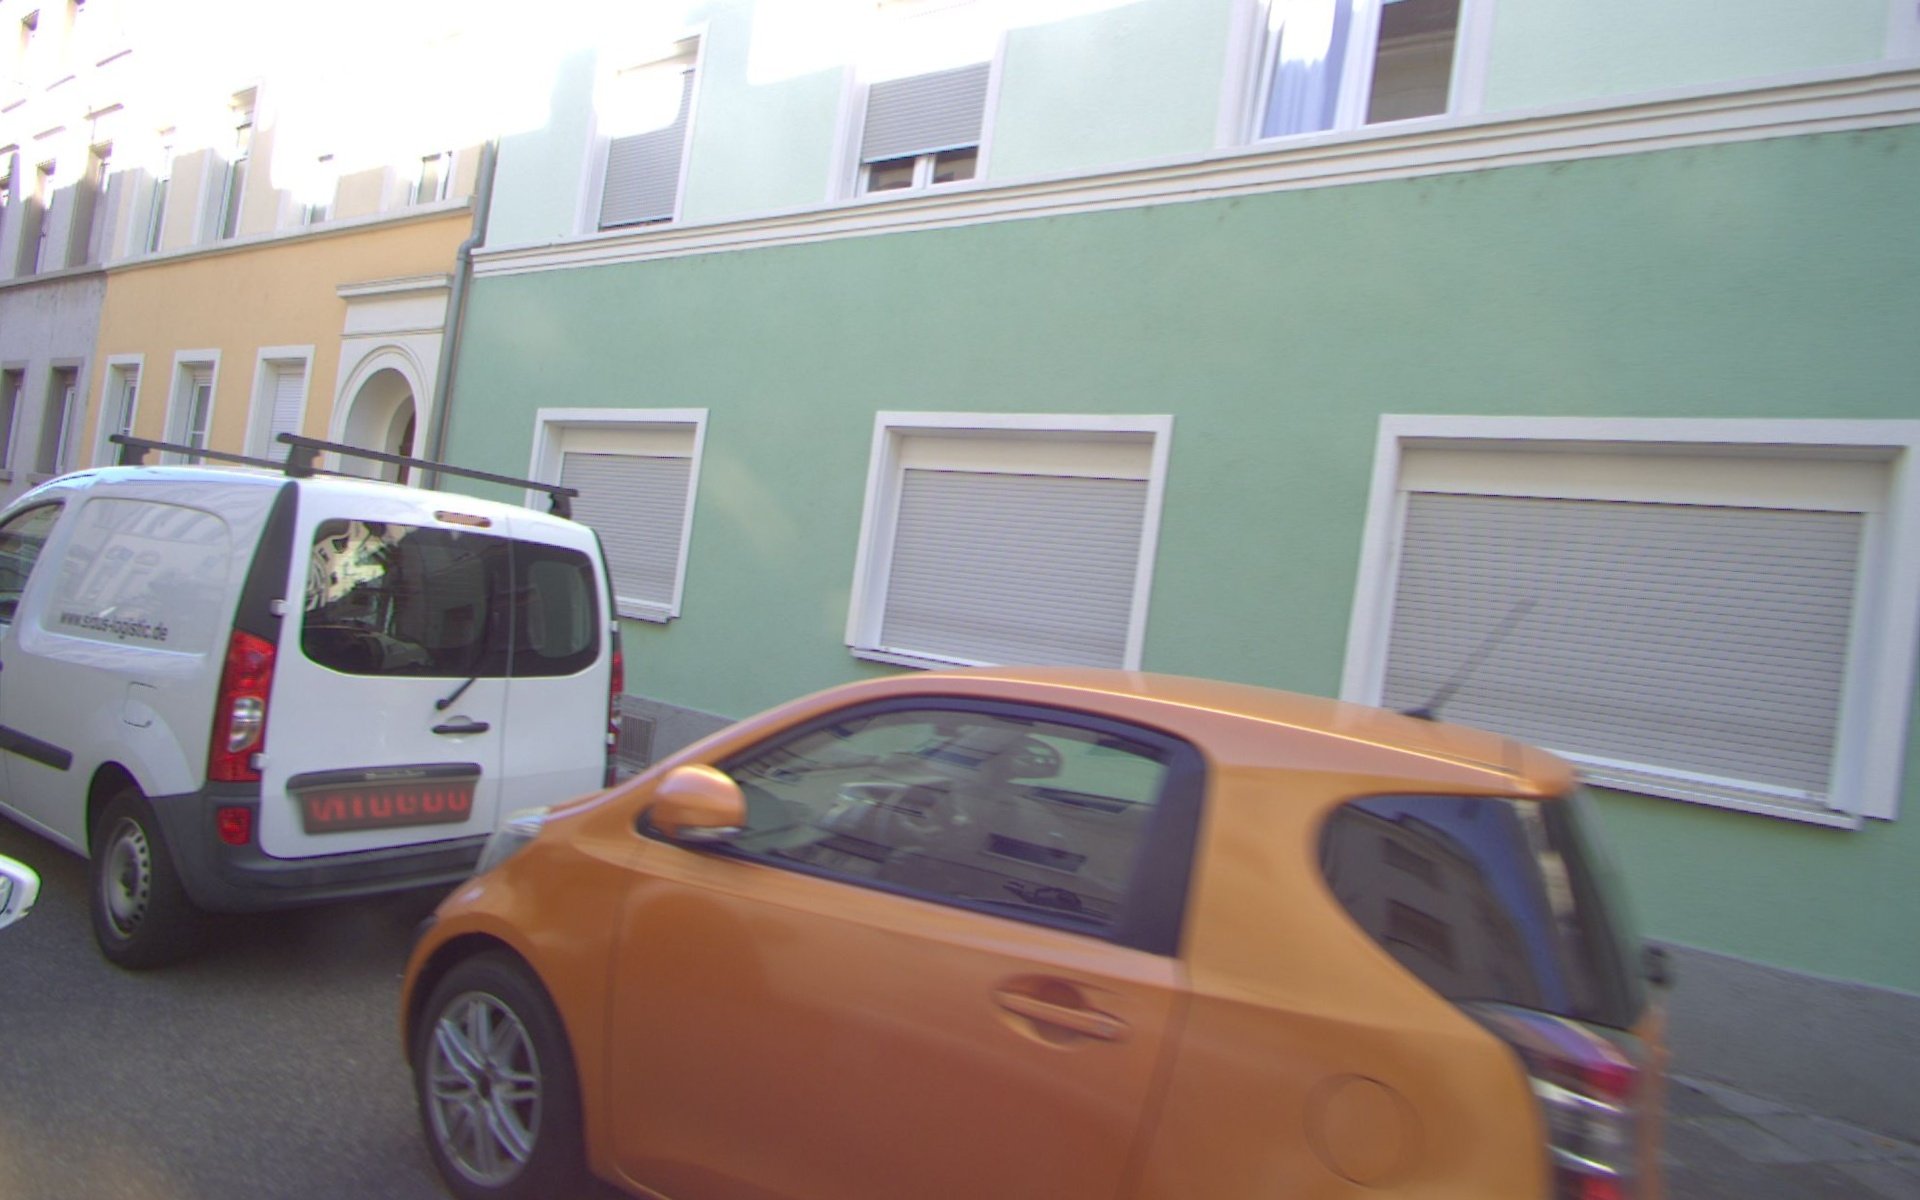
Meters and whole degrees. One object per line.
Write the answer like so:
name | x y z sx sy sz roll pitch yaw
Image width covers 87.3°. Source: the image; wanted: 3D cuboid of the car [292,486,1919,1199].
car | 0.254 0.805 2.539 3.619 1.649 1.586 7 -3 30

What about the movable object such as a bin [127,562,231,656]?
movable object such as a bin | -8.865 0.111 11.427 0.632 0.946 0.655 7 -1 30

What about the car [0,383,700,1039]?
car | -3.570 0.216 4.893 4.263 1.984 1.786 7 -2 31
